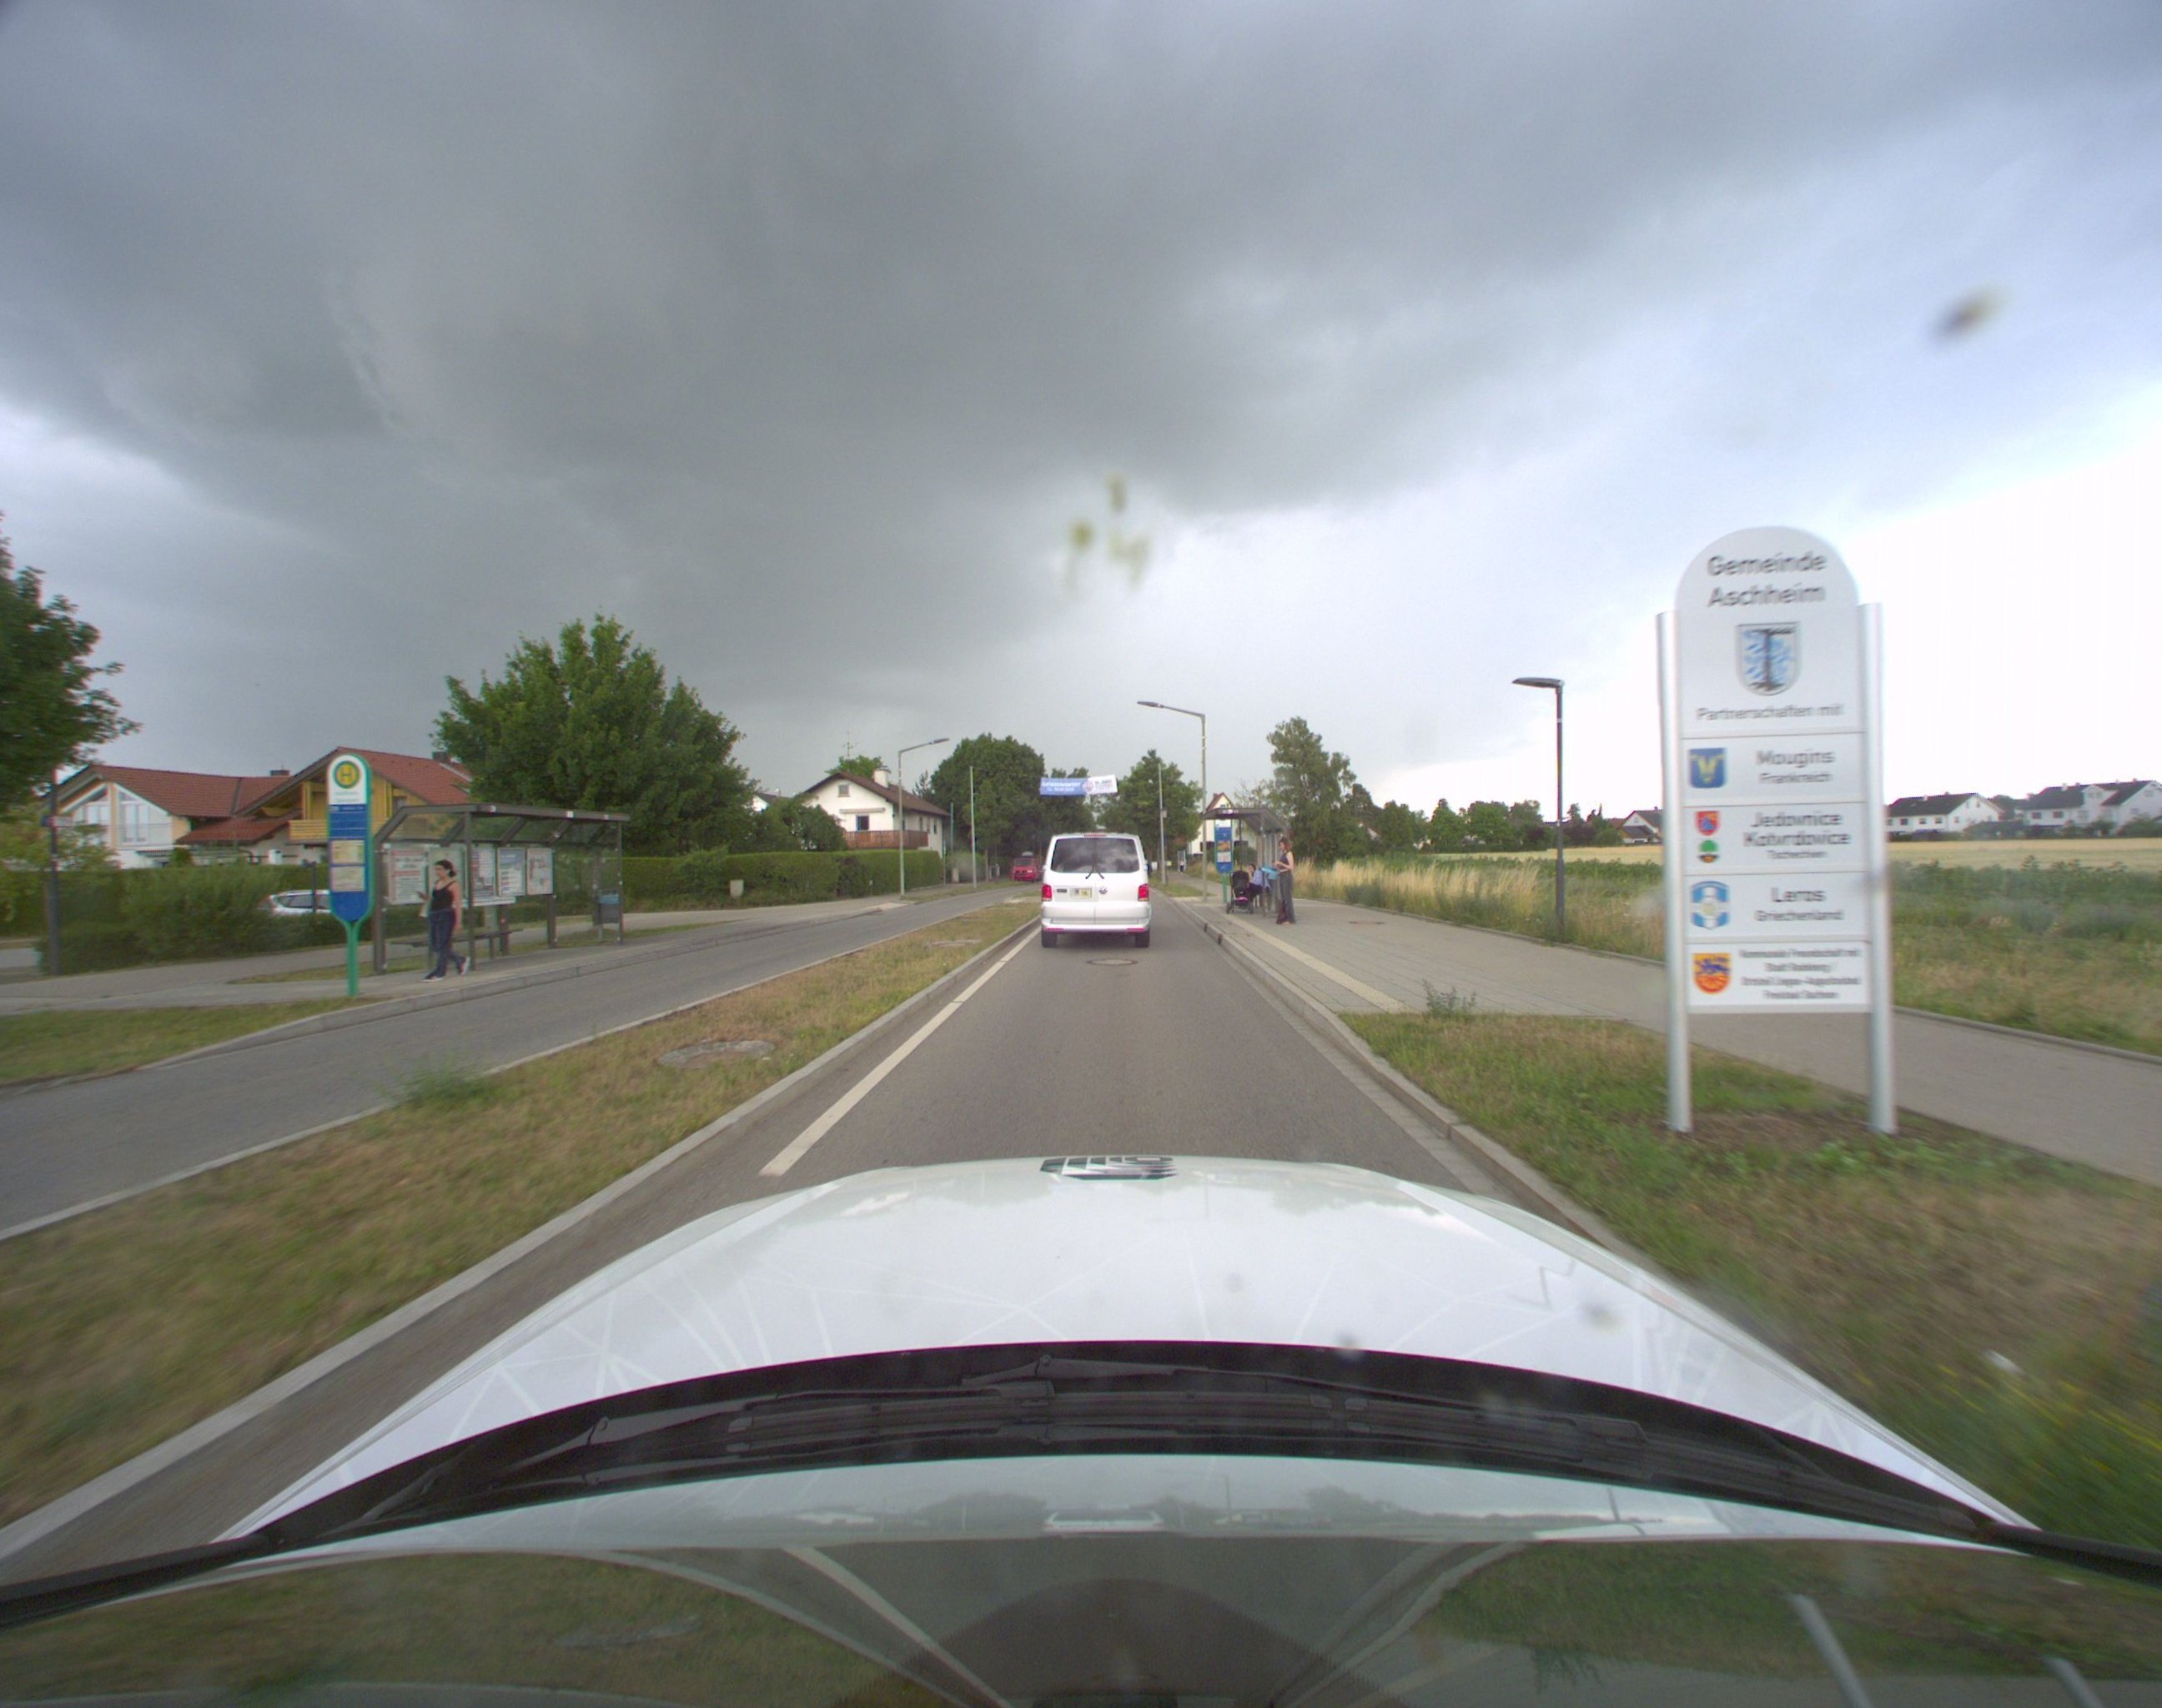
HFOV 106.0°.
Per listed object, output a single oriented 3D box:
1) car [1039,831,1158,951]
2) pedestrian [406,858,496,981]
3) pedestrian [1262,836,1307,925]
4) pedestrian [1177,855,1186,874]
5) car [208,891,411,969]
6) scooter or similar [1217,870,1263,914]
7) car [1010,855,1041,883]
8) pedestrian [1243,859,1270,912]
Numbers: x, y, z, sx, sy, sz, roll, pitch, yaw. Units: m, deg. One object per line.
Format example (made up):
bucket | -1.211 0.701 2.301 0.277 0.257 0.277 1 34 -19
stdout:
car | 0.344 0.624 15.081 1.881 1.912 4.001 -1 -1 2
pedestrian | -8.745 0.883 11.330 0.586 1.636 0.813 -1 -1 2
pedestrian | 4.207 0.545 16.894 0.777 1.792 0.780 0 -1 5
pedestrian | 9.793 1.018 78.974 0.833 1.755 0.871 -1 -1 7
car | -22.424 2.174 23.807 3.974 2.014 2.000 -1 0 0
scooter or similar | 3.926 0.923 20.082 0.699 1.062 1.066 -1 -1 39
car | -4.213 1.121 62.555 1.822 2.030 5.050 0 0 3
pedestrian | 4.434 0.791 20.614 0.660 1.302 0.506 0 -1 11
